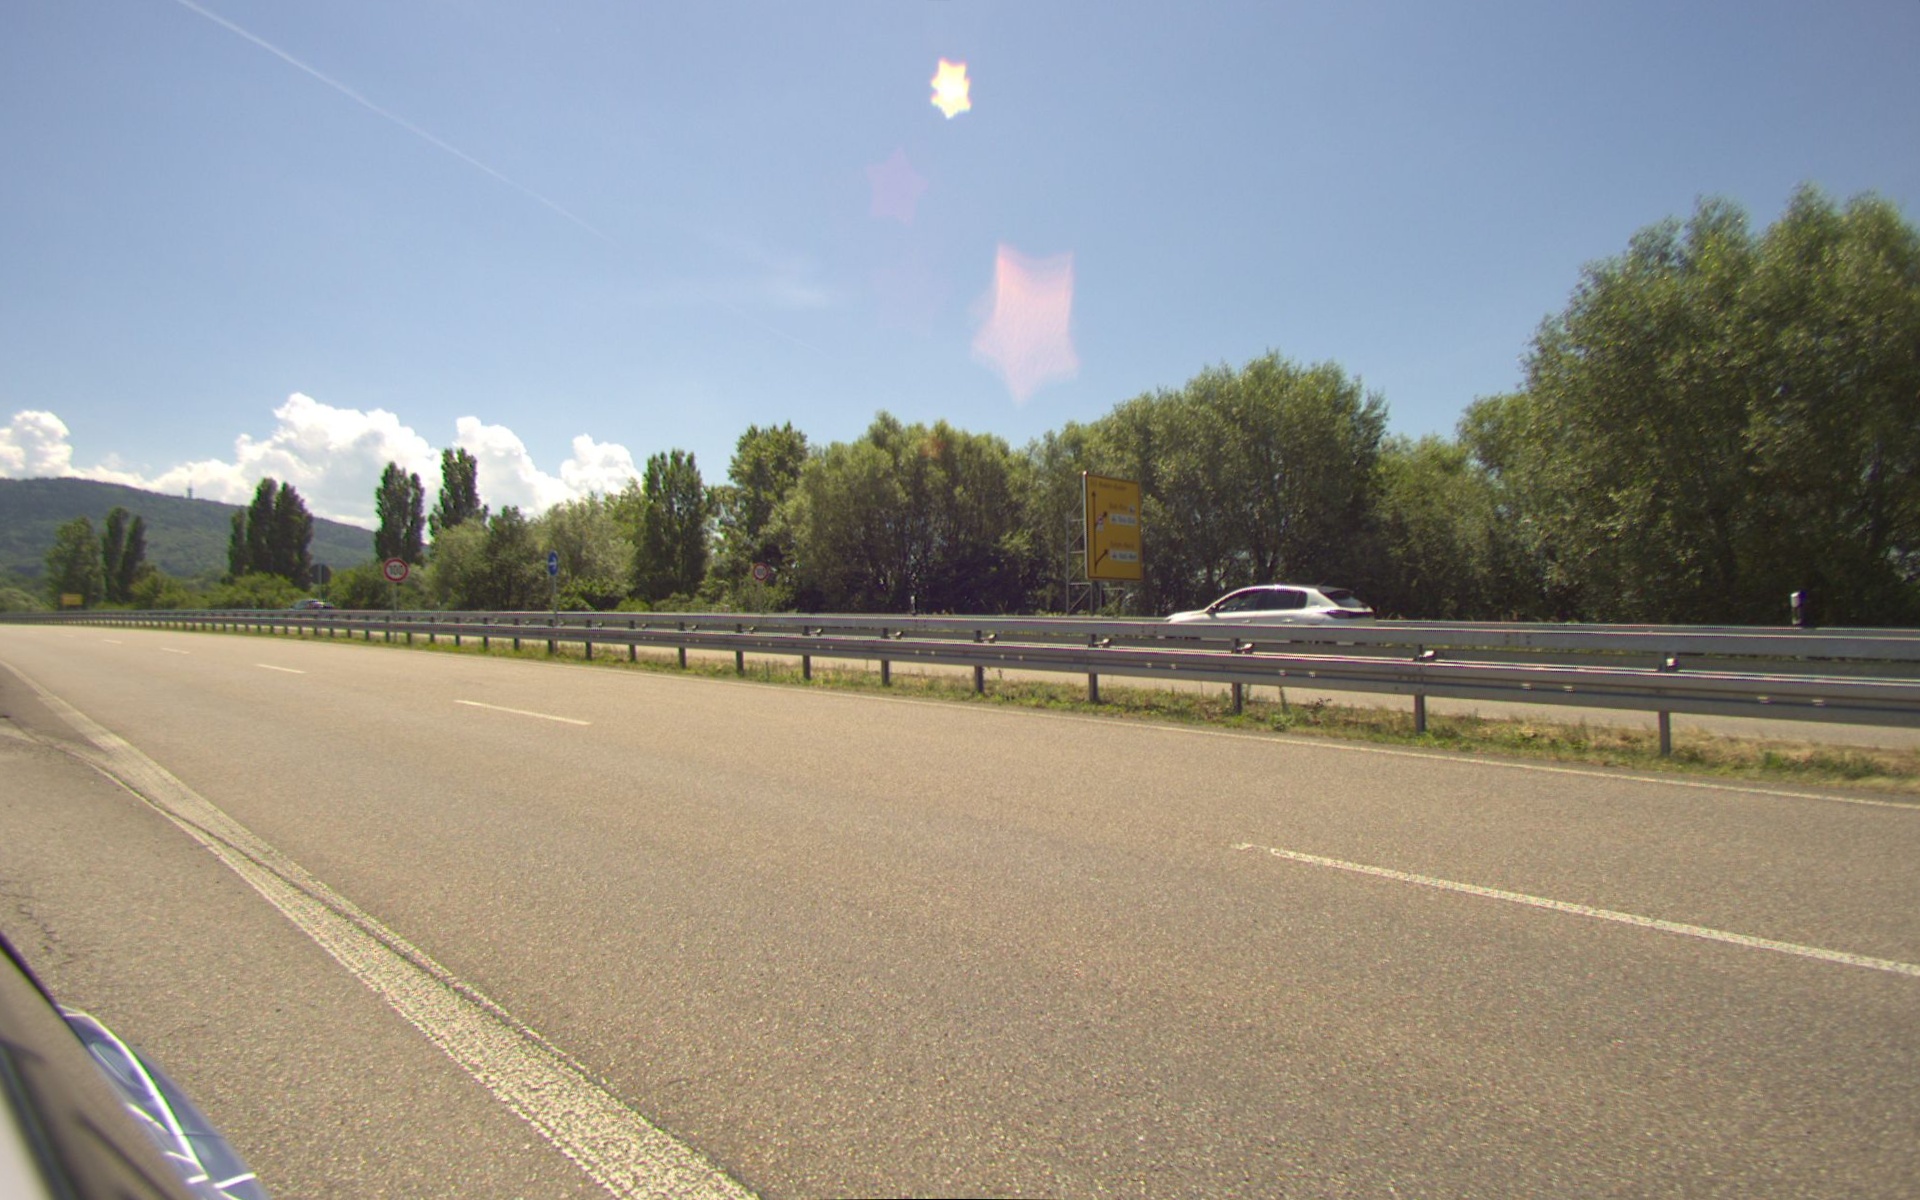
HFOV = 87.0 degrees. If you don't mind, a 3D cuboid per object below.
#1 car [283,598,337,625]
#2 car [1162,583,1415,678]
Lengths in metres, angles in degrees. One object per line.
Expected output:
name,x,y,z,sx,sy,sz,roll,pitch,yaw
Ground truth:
car,-38.362,0.653,59.726,3.703,1.530,1.762,0,1,42
car,5.808,0.486,18.190,4.002,1.515,1.690,0,1,45
